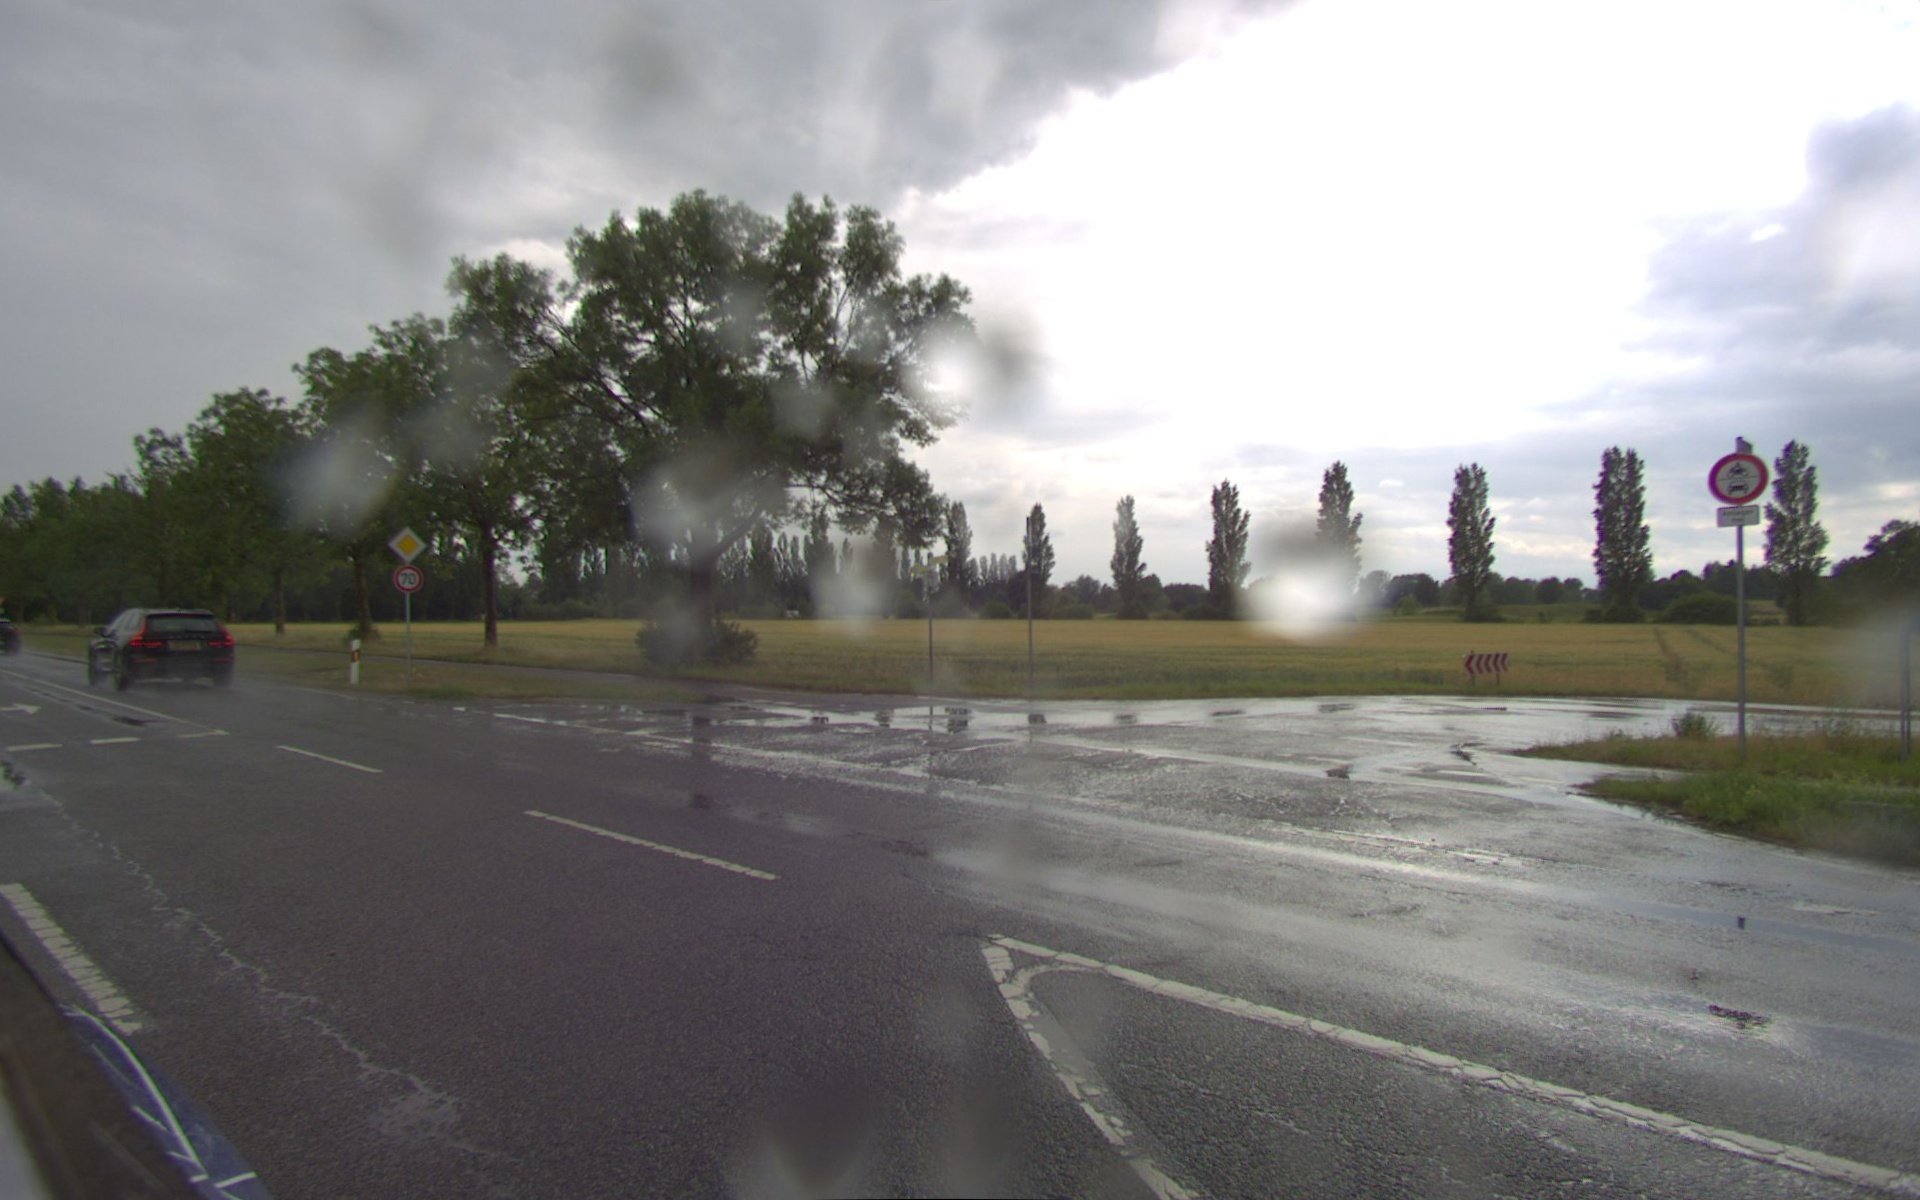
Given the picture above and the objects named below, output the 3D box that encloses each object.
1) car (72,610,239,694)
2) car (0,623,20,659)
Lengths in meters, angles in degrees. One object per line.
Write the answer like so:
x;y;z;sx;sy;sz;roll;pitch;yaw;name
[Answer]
-17.035;1.039;21.365;4.440;1.592;1.924;-1;-2;40;car
-39.356;1.629;40.880;3.813;1.416;1.693;-1;-2;42;car
